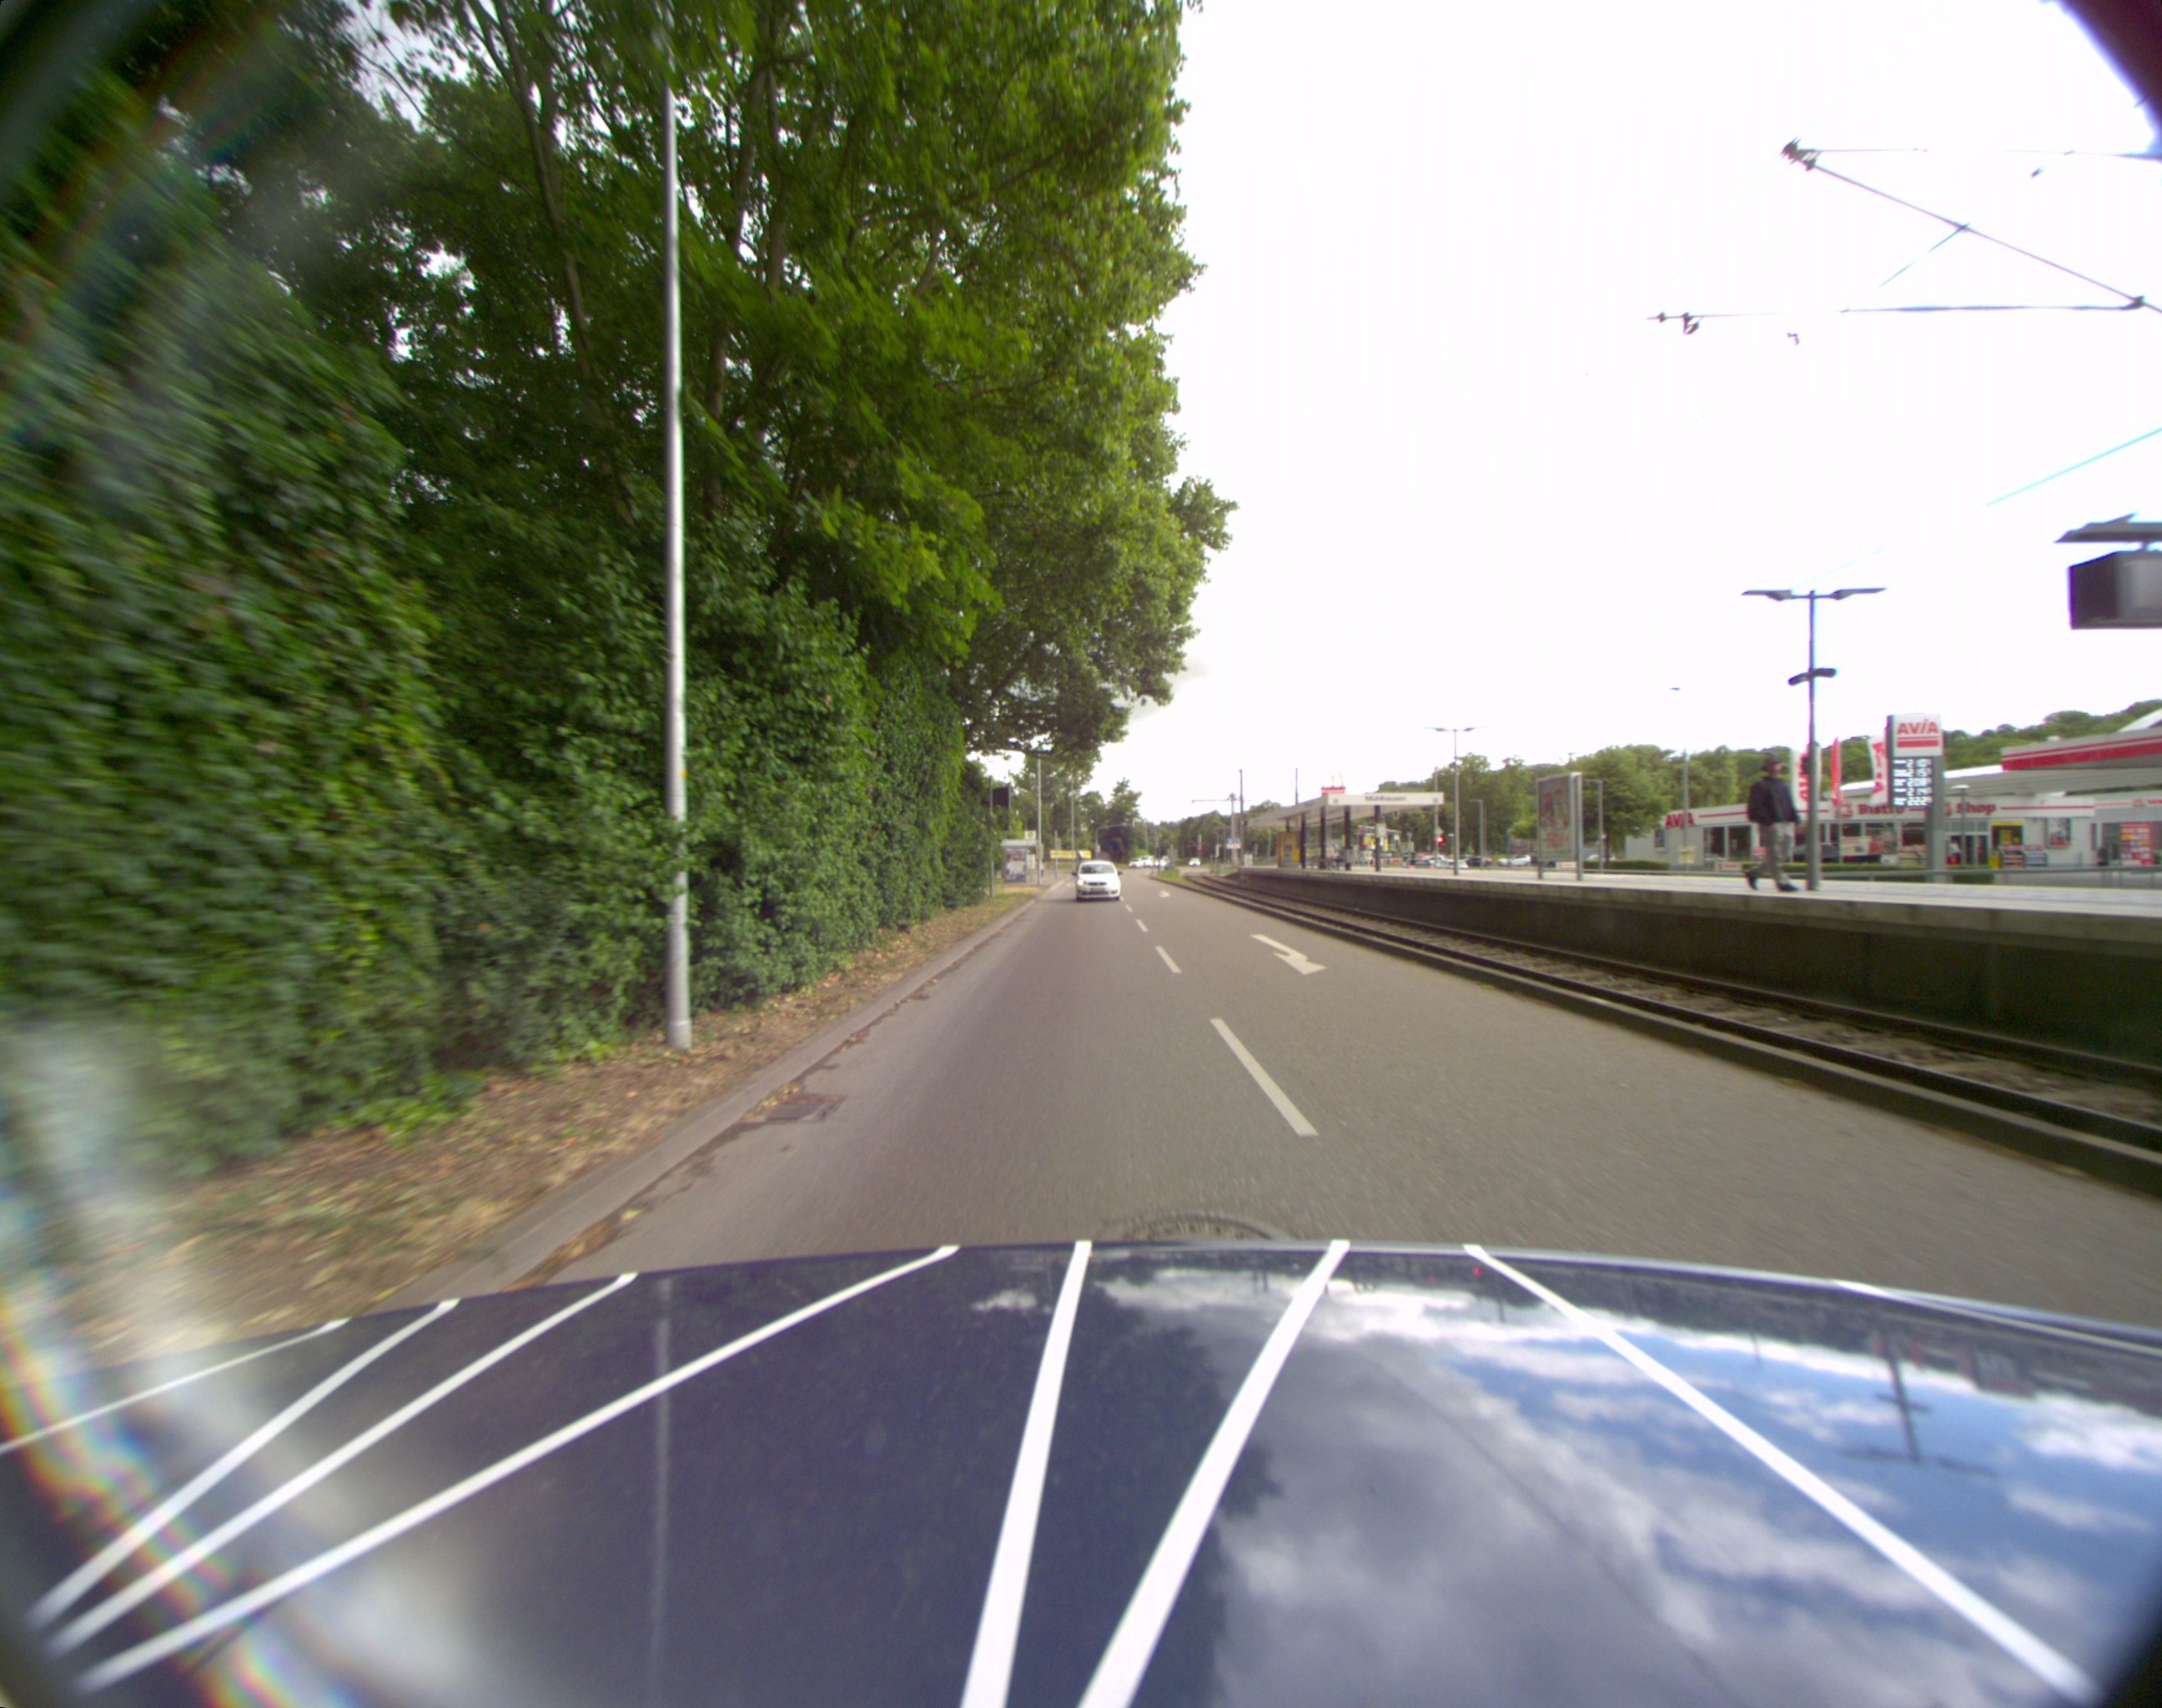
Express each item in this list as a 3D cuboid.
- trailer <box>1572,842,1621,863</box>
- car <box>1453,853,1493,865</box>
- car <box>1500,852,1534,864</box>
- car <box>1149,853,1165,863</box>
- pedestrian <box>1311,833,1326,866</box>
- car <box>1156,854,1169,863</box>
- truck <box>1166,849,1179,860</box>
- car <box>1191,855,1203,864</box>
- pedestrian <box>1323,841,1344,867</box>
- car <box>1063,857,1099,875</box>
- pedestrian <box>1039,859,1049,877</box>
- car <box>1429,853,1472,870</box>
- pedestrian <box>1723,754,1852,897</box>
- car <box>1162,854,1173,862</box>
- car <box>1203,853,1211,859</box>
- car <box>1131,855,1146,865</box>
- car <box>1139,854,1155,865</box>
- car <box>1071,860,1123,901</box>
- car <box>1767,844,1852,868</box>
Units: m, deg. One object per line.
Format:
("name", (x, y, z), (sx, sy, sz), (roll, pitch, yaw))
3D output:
("trailer", (58.084, -0.169, 85.691), (4.388, 2.245, 1.560), (1, 1, 1))
("car", (50.128, 0.593, 97.156), (4.419, 1.423, 1.794), (-1, 0, -11))
("car", (57.576, 0.525, 100.425), (3.642, 1.545, 1.726), (1, 0, -11))
("car", (12.861, 0.653, 128.428), (1.996, 1.527, 4.004), (1, 0, 14))
("pedestrian", (11.814, -0.217, 37.823), (0.585, 1.611, 0.572), (1, 1, 3))
("car", (14.378, 0.825, 134.296), (1.829, 1.543, 4.004), (1, 0, 12))
("truck", (30.363, 0.181, 252.849), (3.434, 3.539, 8.700), (1, 0, 2))
("car", (20.736, 0.901, 135.284), (1.965, 1.543, 4.003), (1, 0, 10))
("pedestrian", (11.941, -0.005, 35.905), (0.771, 1.182, 0.728), (0, 1, 5))
("car", (-0.006, 1.095, 70.318), (1.899, 1.607, 4.500), (-1, 0, -20))
("pedestrian", (-3.102, 1.163, 63.081), (0.755, 1.505, 0.671), (1, 1, 1))
("car", (29.375, 0.589, 60.516), (1.617, 1.342, 4.031), (-1, 0, 2))
("pedestrian", (9.000, -0.346, 9.725), (0.750, 1.734, 0.937), (1, 1, 1))
("car", (16.659, 0.721, 146.583), (1.829, 1.543, 4.003), (1, 0, 10))
("car", (37.890, 0.618, 228.643), (1.998, 2.002, 4.000), (1, 0, 1))
("car", (8.683, 0.908, 113.866), (1.718, 1.410, 4.004), (1, 0, 12))
("car", (10.407, 0.861, 119.850), (1.807, 1.814, 4.004), (-1, 0, 13))
("car", (0.558, 0.972, 29.296), (1.674, 1.439, 3.604), (-2, 0, -3))
("car", (42.966, 0.116, 44.919), (1.616, 1.342, 3.636), (-1, 0, 3))
